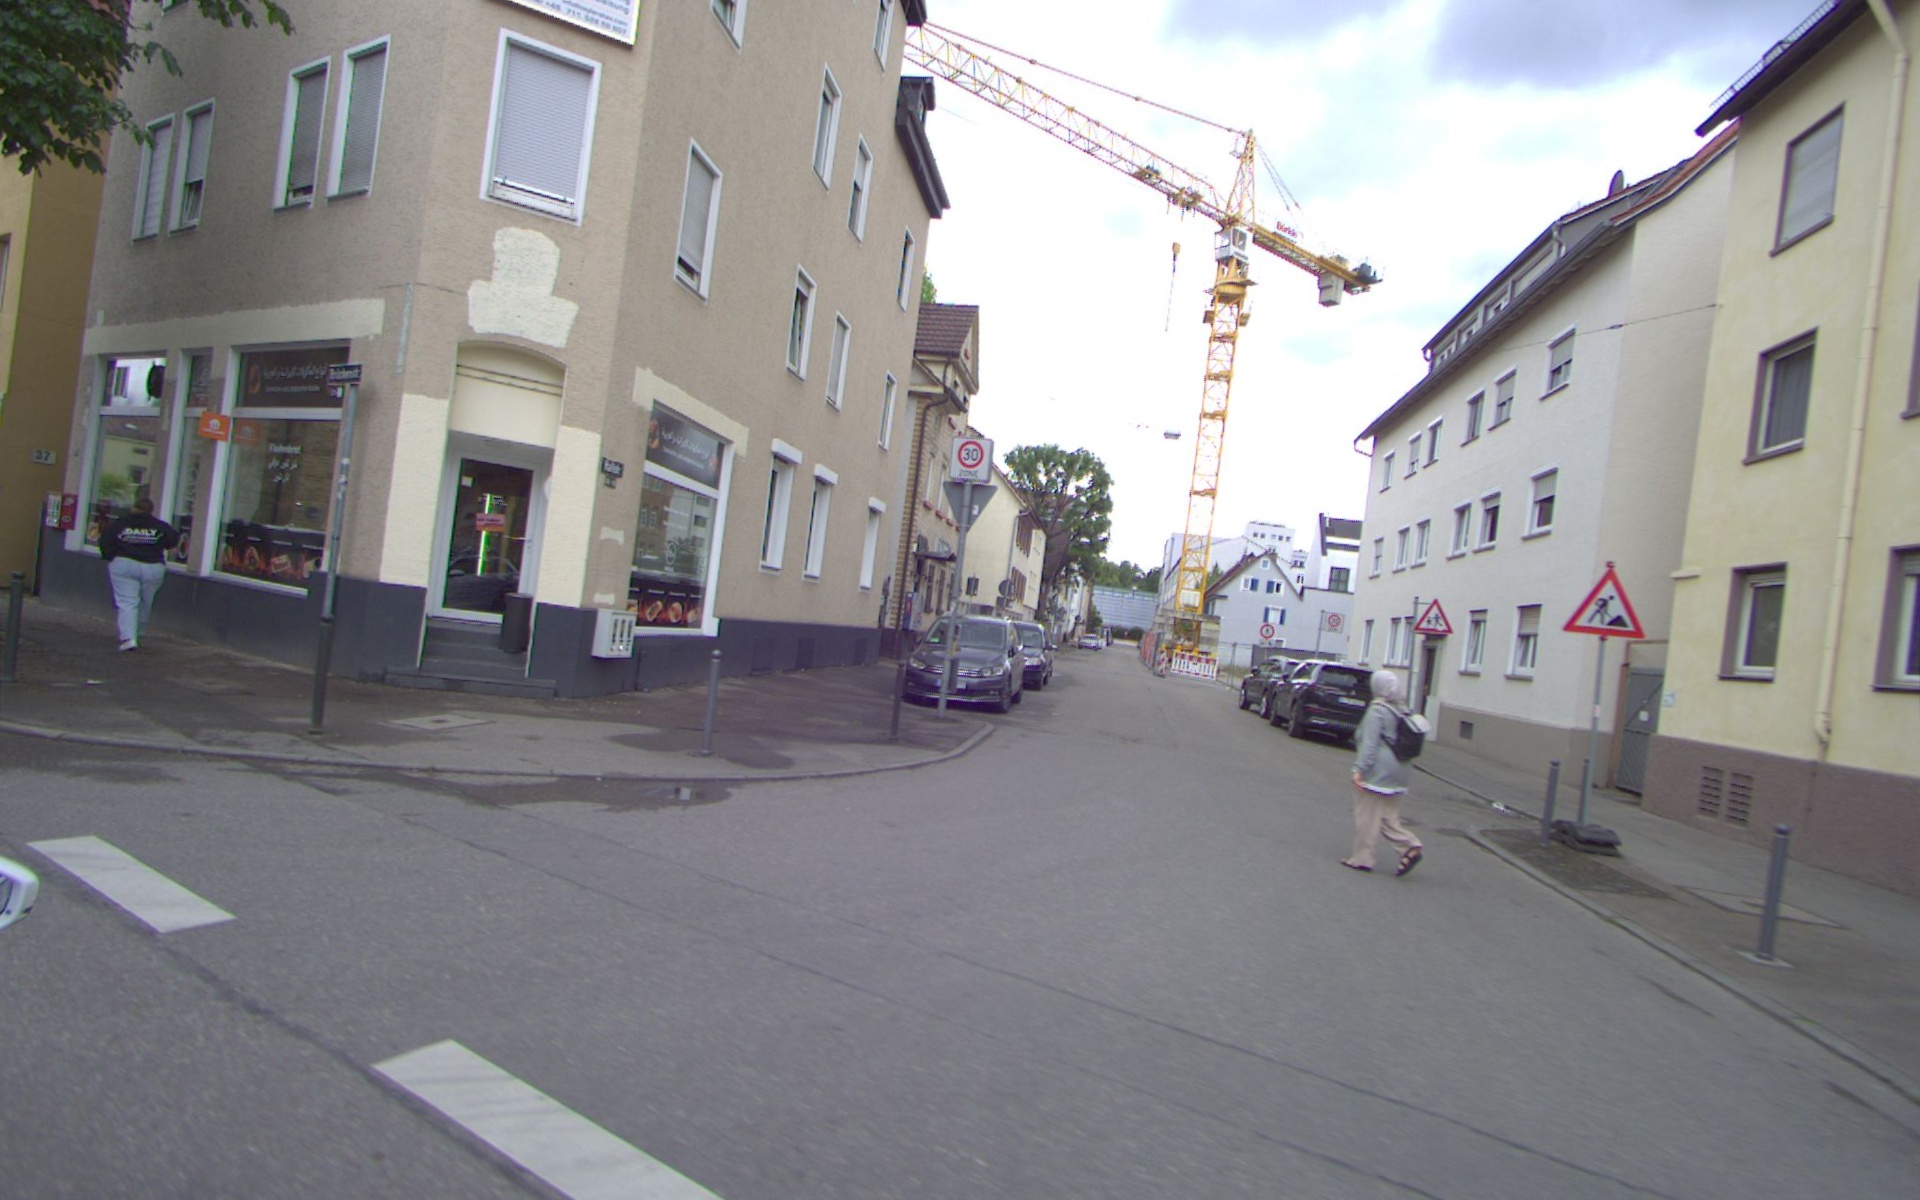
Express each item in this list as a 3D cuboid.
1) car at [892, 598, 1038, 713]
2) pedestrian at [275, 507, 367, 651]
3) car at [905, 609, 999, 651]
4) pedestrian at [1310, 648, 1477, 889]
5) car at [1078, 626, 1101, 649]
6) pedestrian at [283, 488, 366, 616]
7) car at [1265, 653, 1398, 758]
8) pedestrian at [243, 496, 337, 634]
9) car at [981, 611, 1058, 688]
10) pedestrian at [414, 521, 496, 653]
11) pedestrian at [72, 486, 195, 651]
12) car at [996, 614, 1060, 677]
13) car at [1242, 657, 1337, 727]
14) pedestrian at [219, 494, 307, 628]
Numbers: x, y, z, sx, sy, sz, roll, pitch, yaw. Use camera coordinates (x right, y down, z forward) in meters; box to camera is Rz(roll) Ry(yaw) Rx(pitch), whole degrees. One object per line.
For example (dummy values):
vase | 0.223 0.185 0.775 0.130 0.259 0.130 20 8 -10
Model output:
car | 0.239 1.035 18.509 1.850 1.639 4.240 7 -2 10
pedestrian | -7.436 -0.237 11.712 0.512 1.578 0.568 6 -1 31
car | -0.337 1.402 46.672 3.924 1.408 1.700 7 -2 15
pedestrian | 3.324 1.268 7.773 0.786 1.684 0.675 7 0 -5
car | 12.357 3.620 95.731 1.962 1.859 4.006 7 -2 8
pedestrian | -8.362 -0.627 13.244 0.552 1.578 0.568 6 -1 31
car | 8.023 2.208 22.144 1.741 1.701 4.236 10 0 10
pedestrian | -8.188 -0.420 12.306 0.644 1.578 0.568 6 -1 31
car | 1.631 1.295 26.090 1.631 1.639 4.239 7 -2 6
pedestrian | -6.427 -0.160 12.812 0.512 1.578 0.568 6 -1 31
pedestrian | -9.124 -0.345 11.104 0.966 1.673 0.615 7 0 30
car | 2.196 1.464 31.593 1.653 1.639 4.239 7 -2 6
car | 8.801 2.422 27.162 1.741 1.530 3.736 7 -2 10
pedestrian | -8.731 -0.479 12.613 0.547 1.578 0.568 6 -1 31
